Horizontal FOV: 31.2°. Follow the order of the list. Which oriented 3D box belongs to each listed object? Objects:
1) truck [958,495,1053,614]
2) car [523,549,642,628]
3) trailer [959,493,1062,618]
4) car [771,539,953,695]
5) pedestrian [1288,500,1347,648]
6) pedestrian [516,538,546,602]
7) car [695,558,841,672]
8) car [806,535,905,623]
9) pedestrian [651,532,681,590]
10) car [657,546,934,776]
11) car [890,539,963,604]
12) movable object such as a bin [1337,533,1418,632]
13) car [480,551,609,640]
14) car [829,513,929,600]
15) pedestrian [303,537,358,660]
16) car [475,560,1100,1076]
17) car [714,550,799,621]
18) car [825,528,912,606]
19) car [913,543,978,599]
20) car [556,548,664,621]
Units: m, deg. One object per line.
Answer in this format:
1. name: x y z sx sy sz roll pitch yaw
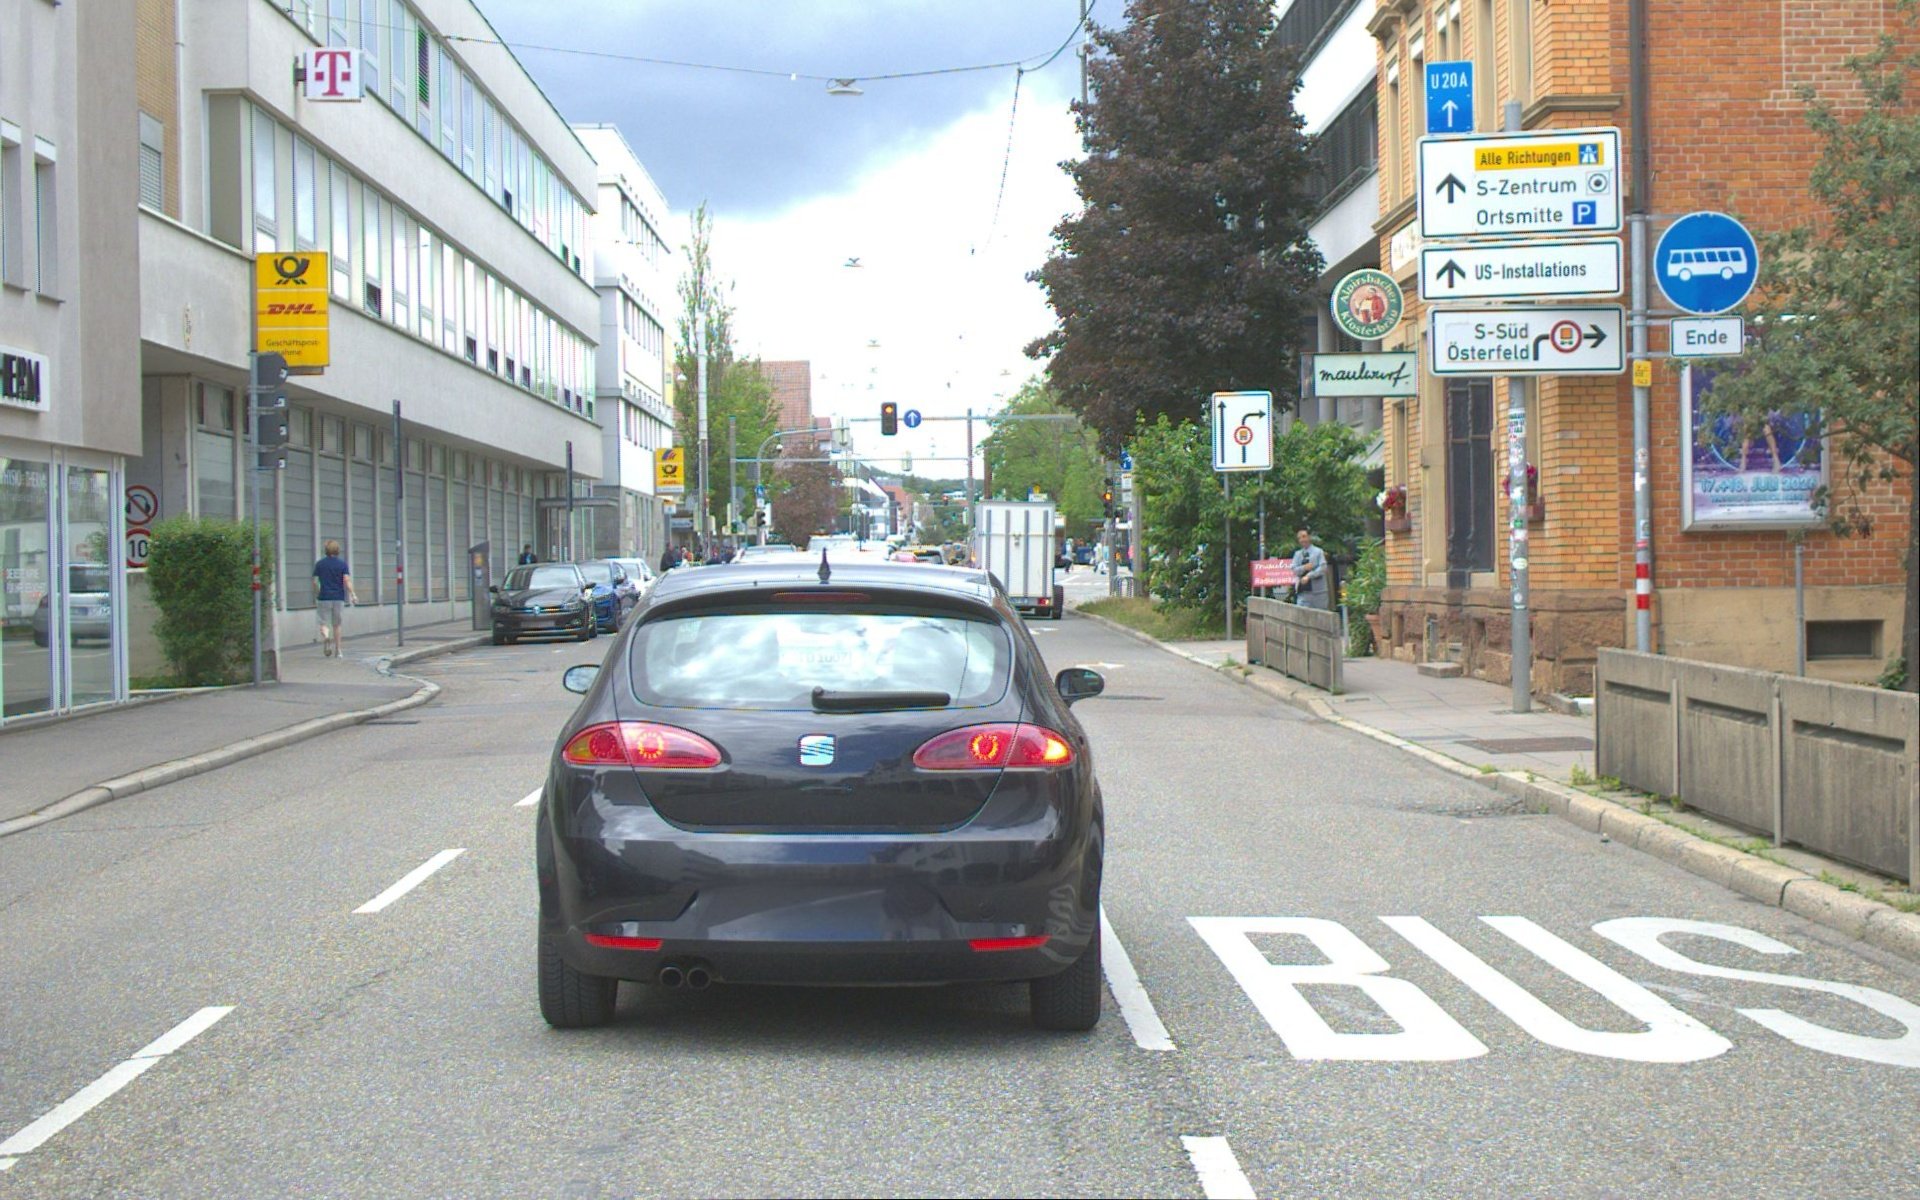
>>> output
1. truck: 0.997 -1.038 77.491 1.993 2.598 3.260 -1 1 -1
2. car: -7.521 -0.253 68.867 1.993 1.511 4.175 -1 1 -1
3. trailer: 1.064 -0.982 74.695 1.993 2.598 5.350 -1 1 -1
4. car: -1.027 0.140 36.408 1.803 1.547 3.738 -1 1 -1
5. pedestrian: 4.877 -0.357 46.967 0.693 2.007 0.677 -1 1 -2
6. pedestrian: -10.951 -0.774 87.825 0.656 1.617 0.681 -1 1 0
7. car: -2.458 0.155 44.413 1.779 1.361 4.413 -1 1 -3
8. car: -1.955 -0.418 64.699 1.803 1.596 3.738 0 1 -1
9. pedestrian: -9.607 -1.277 112.453 0.918 1.862 0.783 -1 1 -1
10. car: -1.123 0.372 24.505 1.803 1.487 3.738 -1 1 -1
11. car: -0.867 -0.738 87.127 1.803 1.596 3.738 0 1 -1
12. movable object such as a bin: 6.415 -0.269 52.876 0.943 1.465 1.446 -2 1 -3
13. car: -7.592 -0.112 63.160 1.912 1.511 4.175 -2 1 -1
14. car: -1.520 -0.823 64.378 1.803 1.547 3.738 -1 1 -1
15. pedestrian: -9.116 -0.031 49.819 0.642 1.763 0.810 -1 1 -2
16. car: -0.513 0.599 11.720 1.765 1.428 3.828 -1 1 -1
17. car: -5.272 -0.406 89.503 1.993 1.733 4.554 -2 1 -1
18. car: -1.950 -0.716 73.264 1.803 1.596 3.738 0 1 -1
19. car: -0.434 -0.862 99.751 1.803 1.596 3.738 0 1 -1
20. car: -7.564 -0.364 74.572 1.993 1.511 4.175 -1 1 -1
